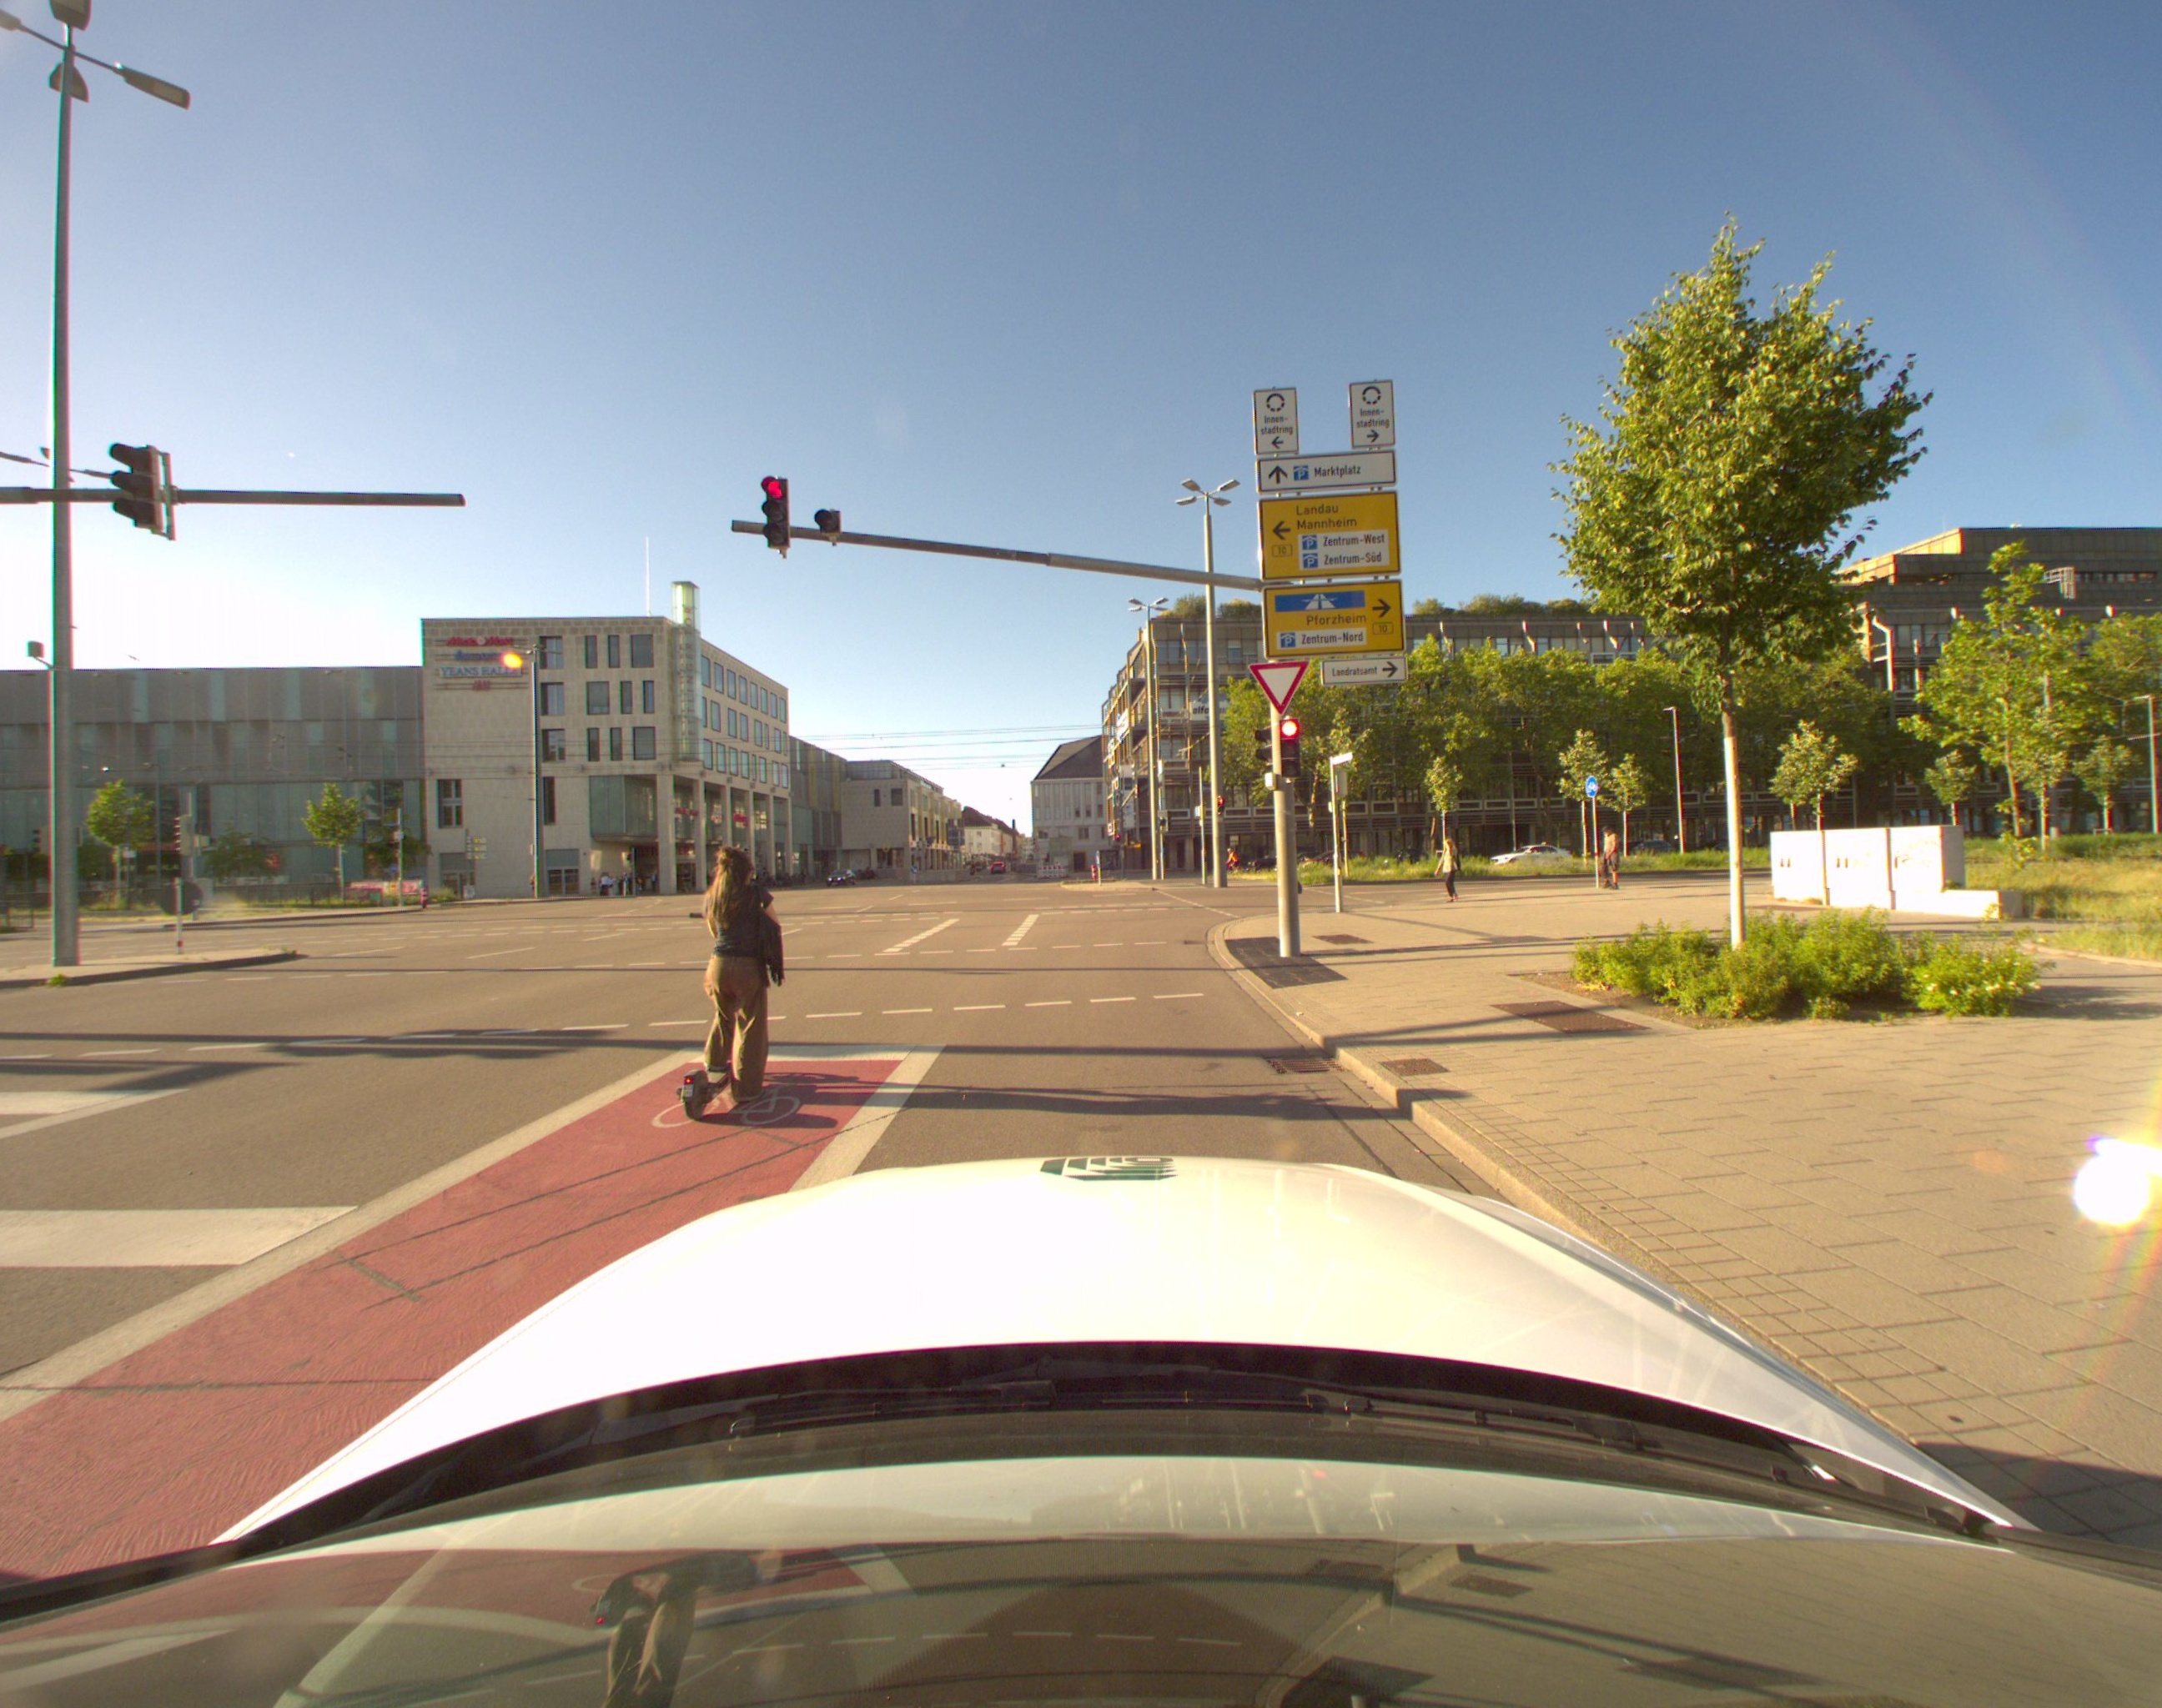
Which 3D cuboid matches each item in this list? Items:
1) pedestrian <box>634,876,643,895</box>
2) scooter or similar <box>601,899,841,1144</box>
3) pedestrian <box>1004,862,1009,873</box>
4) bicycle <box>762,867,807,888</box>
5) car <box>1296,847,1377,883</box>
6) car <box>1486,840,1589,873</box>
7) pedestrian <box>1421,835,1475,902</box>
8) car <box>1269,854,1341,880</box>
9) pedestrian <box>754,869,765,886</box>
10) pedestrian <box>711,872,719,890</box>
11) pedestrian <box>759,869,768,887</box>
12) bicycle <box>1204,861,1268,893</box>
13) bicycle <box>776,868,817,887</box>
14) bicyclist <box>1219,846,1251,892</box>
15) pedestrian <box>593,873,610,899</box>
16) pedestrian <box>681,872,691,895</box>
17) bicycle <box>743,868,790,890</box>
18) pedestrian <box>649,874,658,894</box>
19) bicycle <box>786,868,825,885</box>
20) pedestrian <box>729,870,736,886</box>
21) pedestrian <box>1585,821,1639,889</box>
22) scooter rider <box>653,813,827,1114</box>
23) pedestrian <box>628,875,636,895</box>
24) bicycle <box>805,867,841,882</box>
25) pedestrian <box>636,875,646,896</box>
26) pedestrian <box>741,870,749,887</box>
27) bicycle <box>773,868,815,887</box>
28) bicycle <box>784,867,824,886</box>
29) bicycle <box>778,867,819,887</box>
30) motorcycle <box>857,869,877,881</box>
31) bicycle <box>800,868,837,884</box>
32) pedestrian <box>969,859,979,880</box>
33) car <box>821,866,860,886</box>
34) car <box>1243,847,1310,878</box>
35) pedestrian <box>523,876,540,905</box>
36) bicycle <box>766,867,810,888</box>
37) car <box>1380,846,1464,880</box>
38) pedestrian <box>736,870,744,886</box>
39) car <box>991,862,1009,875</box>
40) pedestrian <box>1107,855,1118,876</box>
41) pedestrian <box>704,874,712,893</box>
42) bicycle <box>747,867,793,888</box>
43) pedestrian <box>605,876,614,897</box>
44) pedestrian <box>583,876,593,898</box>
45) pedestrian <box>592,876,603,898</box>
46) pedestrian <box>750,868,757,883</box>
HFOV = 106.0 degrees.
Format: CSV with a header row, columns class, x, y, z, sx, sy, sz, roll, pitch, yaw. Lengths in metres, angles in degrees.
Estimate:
class,x,y,z,sx,sy,sz,roll,pitch,yaw
pedestrian,-32.425,2.311,59.681,0.387,1.412,0.436,-2,0,-14
scooter or similar,-2.173,0.944,5.196,0.725,1.202,1.665,-1,0,2
pedestrian,-9.335,1.682,102.519,0.608,1.411,0.569,-2,0,-5
bicycle,-26.146,2.063,71.952,3.488,1.696,1.114,-2,0,-7
car,14.451,0.617,46.207,3.975,2.014,1.999,0,-1,-1
car,28.892,0.143,51.652,5.424,2.014,2.097,0,-1,-1
pedestrian,9.249,0.349,20.554,0.801,1.630,0.939,-2,0,-12
car,13.850,0.780,50.474,3.976,1.508,1.867,-1,0,-2
pedestrian,-31.297,2.263,79.310,0.783,1.642,0.694,-2,0,-5
pedestrian,-32.235,2.366,71.722,0.480,1.510,0.513,-2,0,-3
pedestrian,-30.383,2.269,77.961,0.652,1.642,0.693,-2,0,-7
bicycle,8.925,1.312,47.065,3.488,1.659,0.929,-2,0,-7
bicycle,-26.859,2.192,76.856,3.491,1.696,0.984,-2,0,-10
bicyclist,8.884,0.852,47.069,1.566,2.580,0.929,-2,0,-7
pedestrian,-33.874,2.273,57.529,0.755,1.798,0.736,-2,0,-3
pedestrian,-28.786,2.128,59.349,0.542,1.642,0.547,-2,0,-20
bicycle,-26.734,2.090,69.291,3.488,1.696,1.114,-2,0,-7
pedestrian,-34.823,2.417,66.329,0.428,1.585,0.498,-2,0,-3
bicycle,-27.413,2.219,81.158,3.491,1.527,0.984,-2,0,-10
pedestrian,-33.730,2.317,78.822,0.480,1.510,0.513,-2,0,-3
pedestrian,14.139,0.028,21.698,0.694,1.728,0.939,-2,0,-12
scooter rider,-2.163,0.653,5.263,0.726,1.775,0.811,-1,0,1
pedestrian,-32.838,2.278,59.538,0.387,1.426,0.500,-2,0,-13
bicycle,-27.656,2.205,87.447,3.491,1.527,0.984,-2,0,-10
pedestrian,-34.728,2.487,64.280,0.428,1.585,0.498,-2,0,-3
pedestrian,-33.424,2.442,80.970,0.480,1.585,0.598,-2,0,-3
bicycle,-26.683,2.174,75.759,3.491,1.696,0.984,-2,0,-10
bicycle,-27.251,2.227,80.161,3.491,1.696,0.984,-2,0,-10
bicycle,-27.047,2.204,78.064,3.491,1.696,0.984,-2,0,-10
motorcycle,-25.972,2.529,98.864,2.269,1.318,0.719,-2,0,-4
bicycle,-27.551,2.284,85.579,3.491,1.527,0.984,-2,0,-10
pedestrian,-8.579,1.248,65.537,0.661,1.658,0.755,-2,0,-1
car,-20.771,1.881,70.527,1.986,1.486,4.002,-2,0,2
car,12.838,0.558,53.622,3.975,2.014,1.999,0,-1,-1
pedestrian,-32.334,2.145,47.927,0.524,1.694,0.548,-2,0,0
bicycle,-26.323,2.109,73.173,3.488,1.696,1.114,-2,0,-7
car,21.404,0.559,51.245,4.435,2.014,1.998,0,-1,-4
pedestrian,-33.008,2.312,78.855,0.480,1.510,0.513,-2,0,-3
car,-10.794,1.878,108.859,2.195,1.607,4.320,-2,0,-4
pedestrian,2.539,0.884,65.011,0.728,1.658,0.649,-2,0,-5
pedestrian,-32.512,2.584,70.987,0.480,1.585,0.513,-2,0,-3
bicycle,-26.910,2.044,70.450,3.488,1.696,1.114,-2,0,-7
pedestrian,-34.219,2.370,59.112,0.421,1.527,0.456,-2,0,-6
pedestrian,-35.253,2.345,58.273,0.421,1.501,0.456,-2,0,-9
pedestrian,-34.796,2.390,58.635,0.420,1.565,0.457,-2,0,2
pedestrian,-33.096,2.199,82.389,0.480,1.510,0.513,-2,0,-3
